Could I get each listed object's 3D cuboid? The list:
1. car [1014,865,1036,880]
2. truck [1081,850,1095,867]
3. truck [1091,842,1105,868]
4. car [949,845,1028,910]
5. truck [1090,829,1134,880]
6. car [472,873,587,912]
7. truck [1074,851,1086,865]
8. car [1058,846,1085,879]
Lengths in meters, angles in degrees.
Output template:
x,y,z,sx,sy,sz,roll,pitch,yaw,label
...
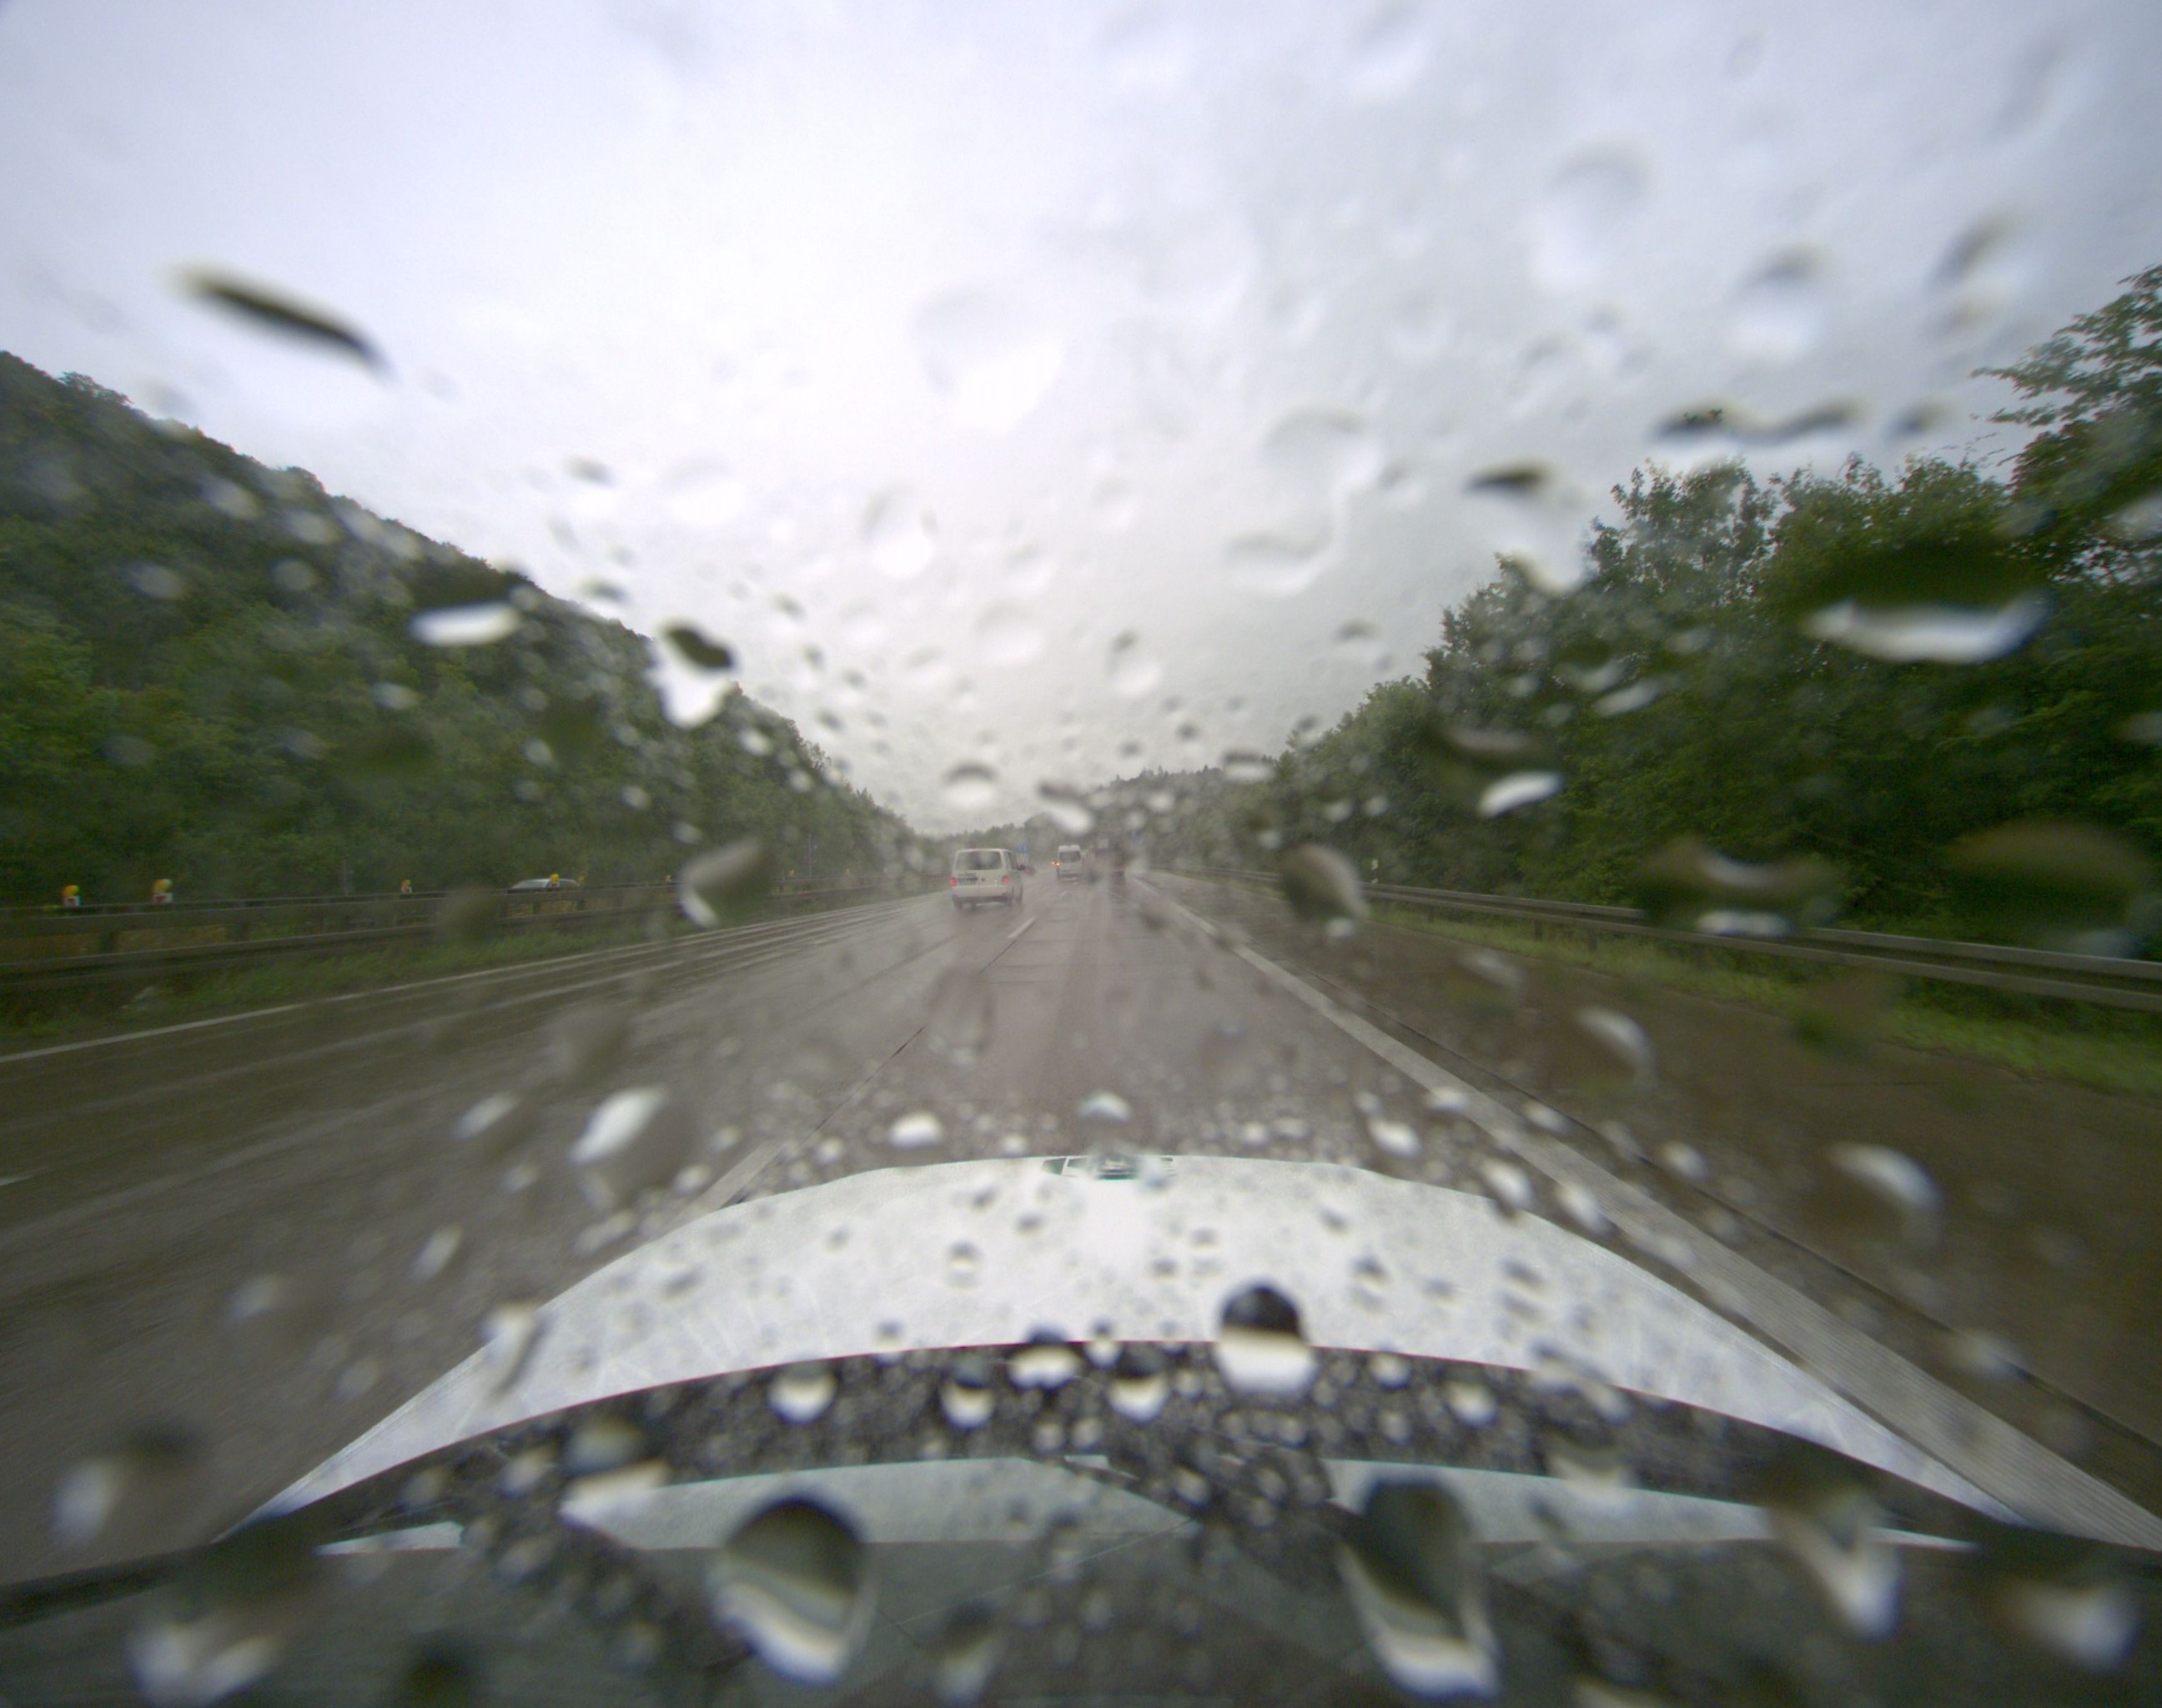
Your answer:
x,y,z,sx,sy,sz,roll,pitch,yaw,label
-5.354,1.766,78.209,1.735,1.388,4.320,-2,-1,0,car
1.346,0.907,161.374,1.991,3.169,6.720,-3,0,-6,truck
2.639,0.191,124.883,1.986,3.805,6.736,-3,0,2,truck
-2.962,0.734,27.260,1.893,1.894,5.044,-2,0,1,car
2.664,-0.069,72.448,3.373,3.967,8.668,-5,1,1,truck
-23.279,1.586,34.608,1.661,1.434,4.519,-2,0,1,car
-0.305,0.914,193.982,1.991,3.169,6.720,-3,0,-6,truck
-0.740,0.642,61.265,1.894,2.334,5.248,0,0,-1,car
